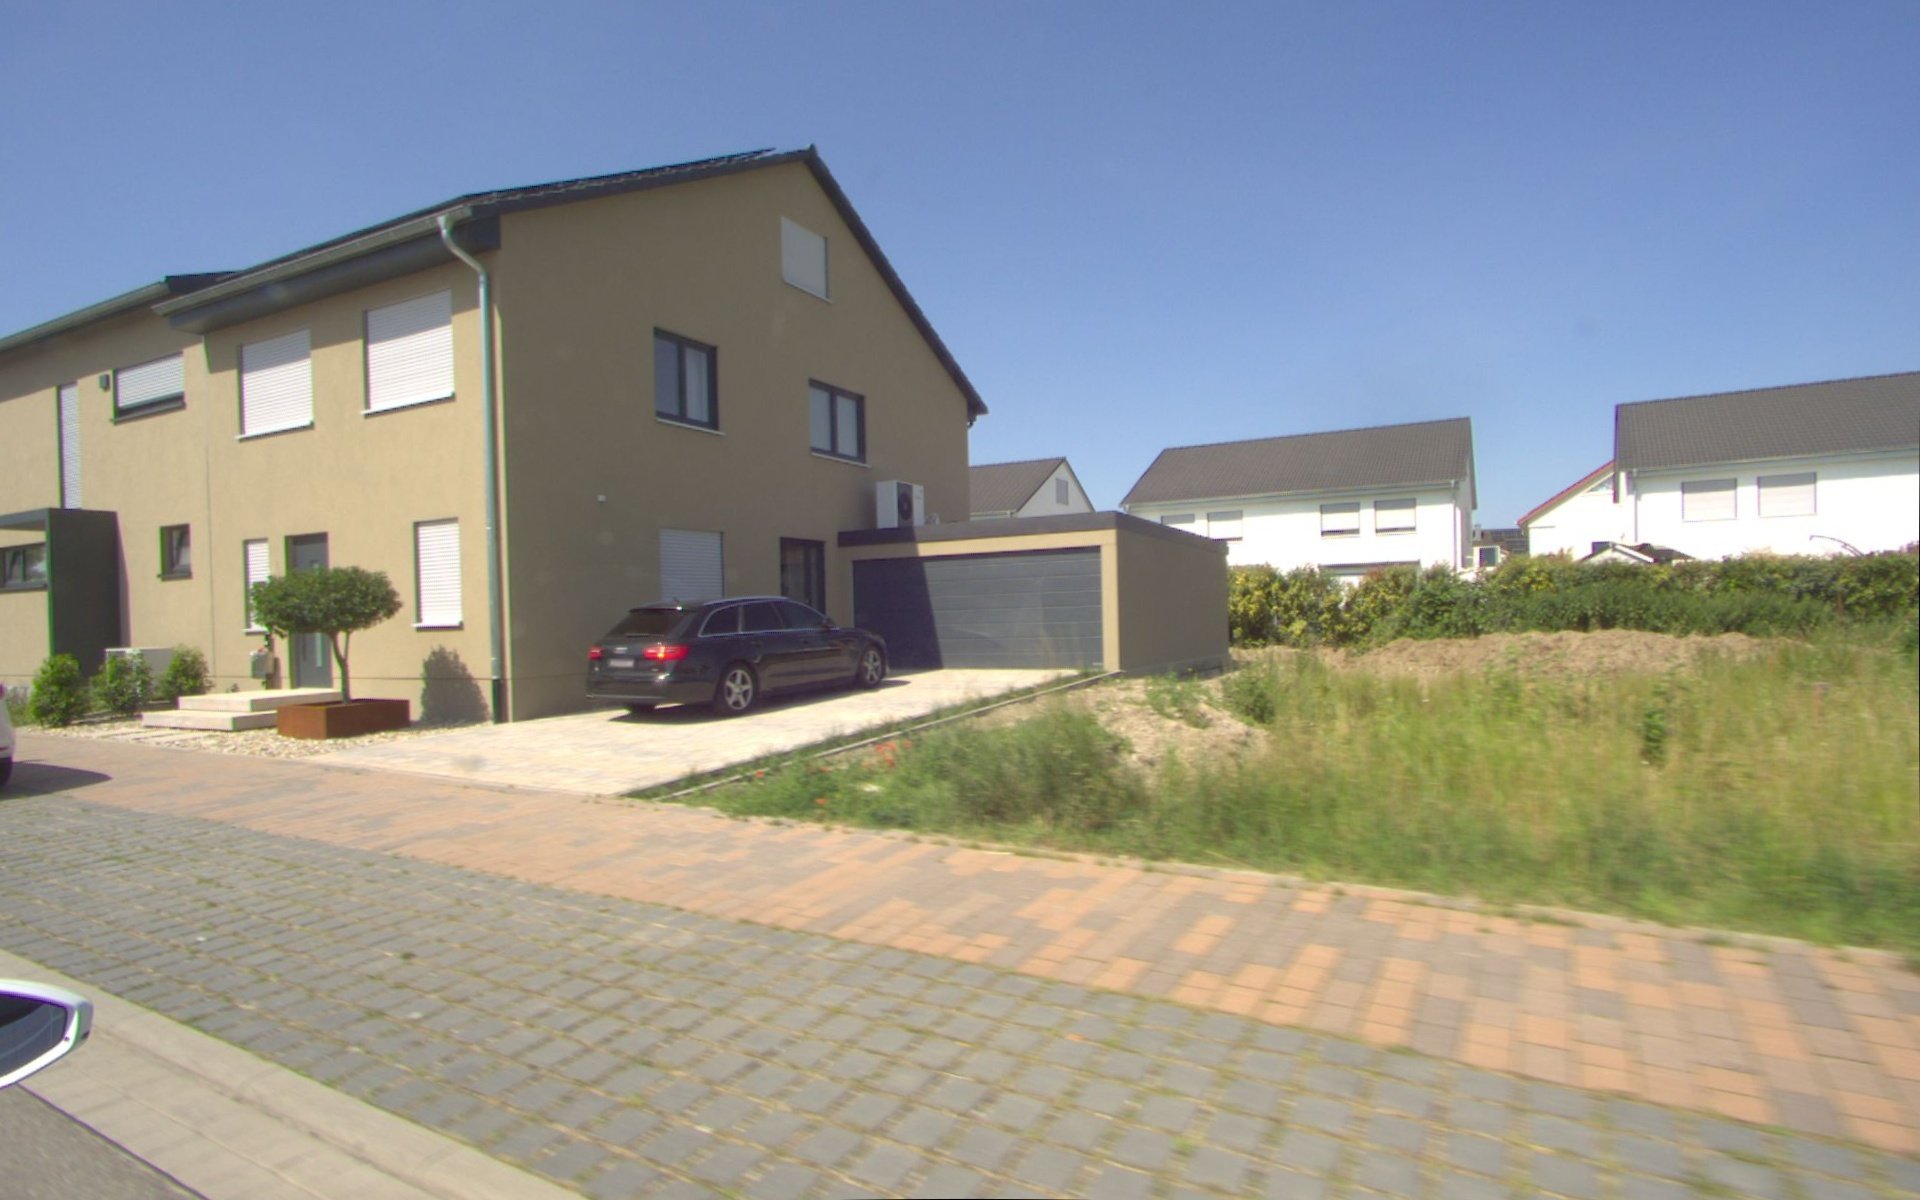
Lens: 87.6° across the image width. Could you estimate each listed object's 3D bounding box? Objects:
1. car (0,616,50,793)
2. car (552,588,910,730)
[{"bbox_3d":[-10.321,0.940,8.957,4.494,1.475,1.812,-1,1,29],"label":"car"},{"bbox_3d":[-2.848,0.644,13.737,1.970,1.445,4.878,-1,2,30],"label":"car"}]
